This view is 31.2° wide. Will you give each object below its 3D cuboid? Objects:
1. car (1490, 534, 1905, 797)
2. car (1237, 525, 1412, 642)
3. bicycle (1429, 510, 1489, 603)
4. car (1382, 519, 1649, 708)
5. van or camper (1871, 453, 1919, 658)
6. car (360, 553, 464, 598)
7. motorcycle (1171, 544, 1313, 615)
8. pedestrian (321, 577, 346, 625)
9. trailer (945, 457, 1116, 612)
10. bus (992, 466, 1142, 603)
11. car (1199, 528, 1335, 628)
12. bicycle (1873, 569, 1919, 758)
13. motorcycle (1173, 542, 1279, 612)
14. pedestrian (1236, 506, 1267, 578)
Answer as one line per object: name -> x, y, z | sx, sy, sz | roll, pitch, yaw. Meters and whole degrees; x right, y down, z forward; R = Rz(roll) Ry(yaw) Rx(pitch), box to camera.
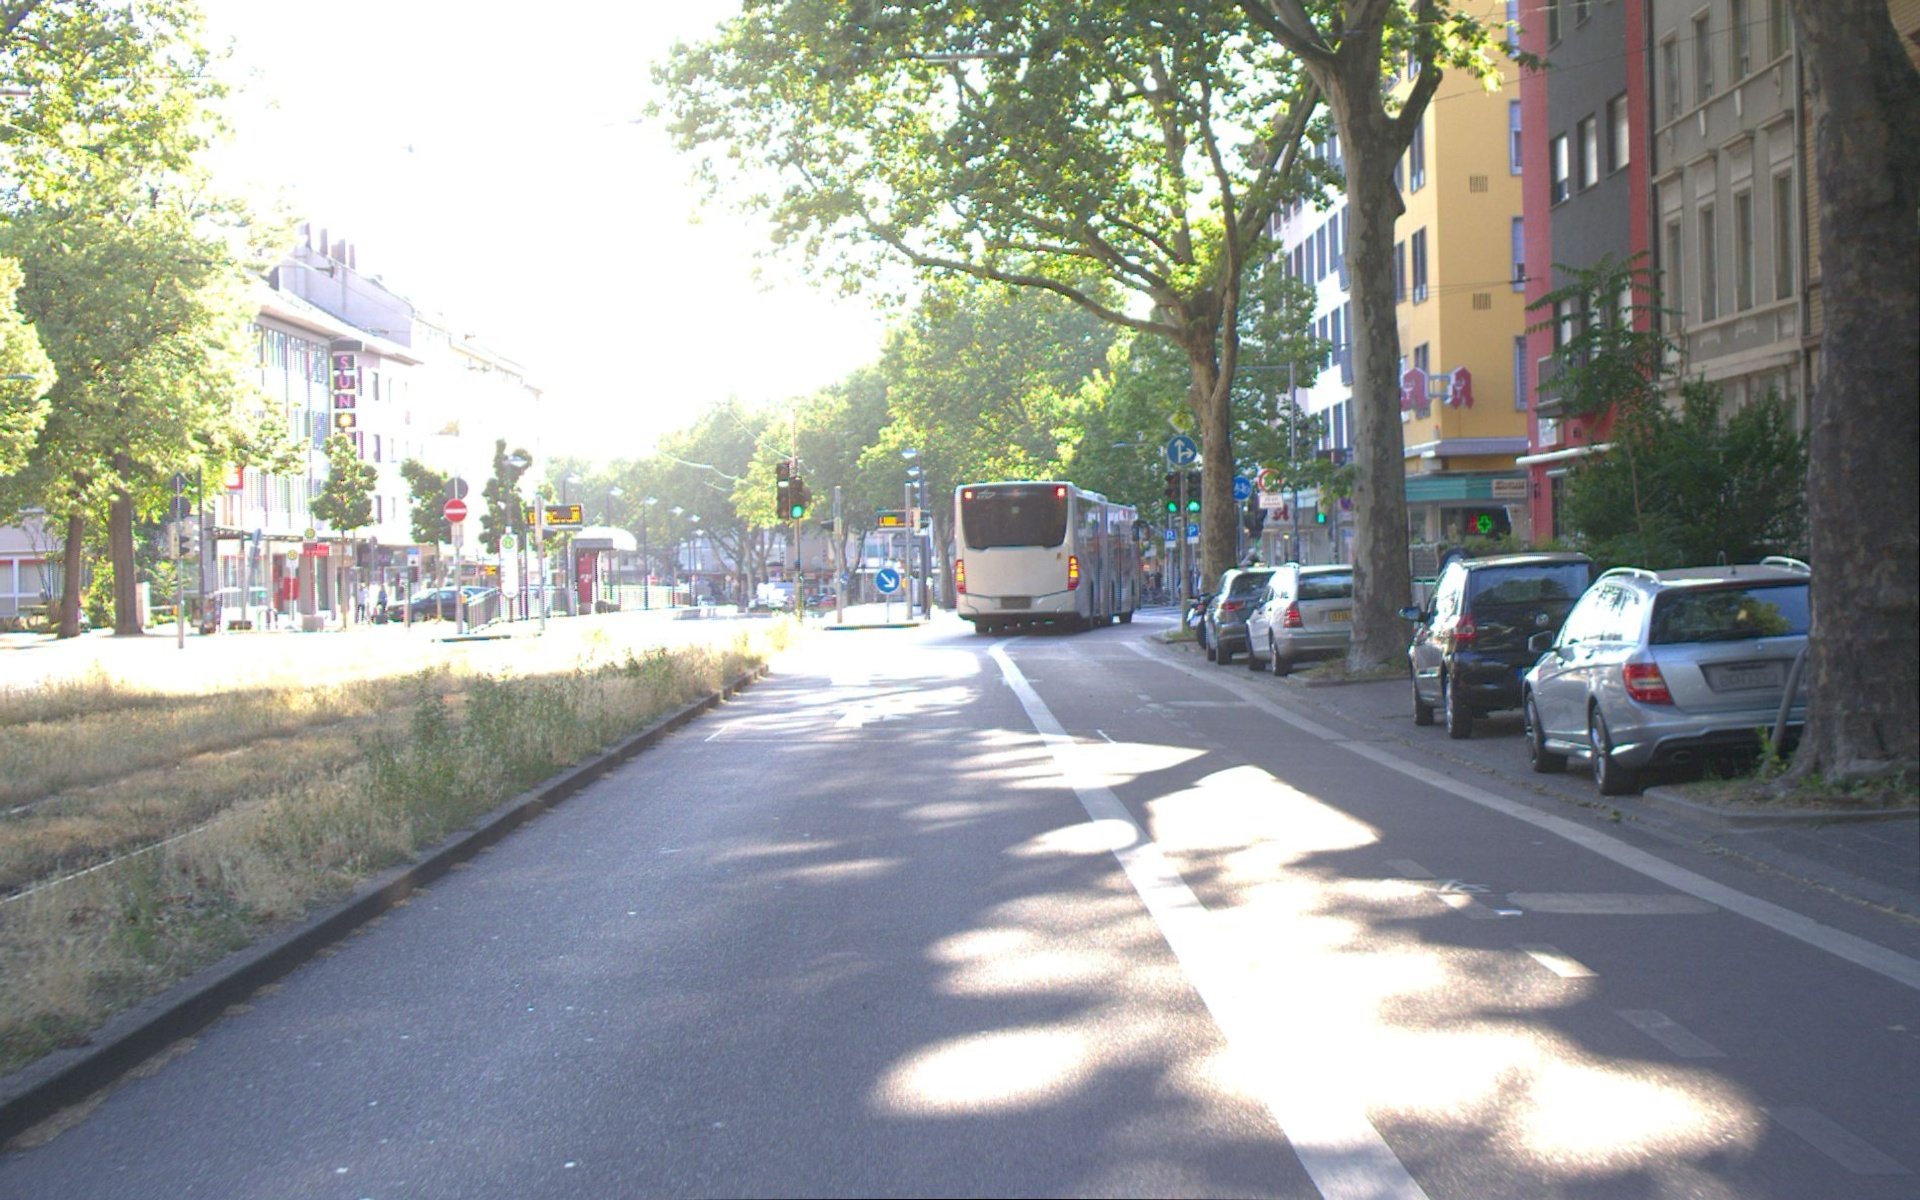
car -> 4.880, 0.357, 23.413 | 1.694, 1.537, 4.777 | -2, 1, -1
car -> 4.810, -0.256, 45.957 | 1.674, 1.446, 4.571 | -2, 1, -2
bicycle -> 7.835, -0.685, 54.041 | 0.607, 1.422, 2.396 | 1, 1, 1
car -> 4.959, 0.068, 31.164 | 1.653, 1.540, 4.000 | -2, 1, -1
van or camper -> 9.943, -0.415, 30.902 | 1.942, 1.916, 5.392 | -2, 1, -1
car -> -23.609, -1.051, 148.176 | 3.986, 1.809, 2.000 | -2, 1, -26
motorcycle -> 4.724, -0.349, 57.572 | 2.205, 1.059, 0.767 | -4, 2, -22
pedestrian -> -26.657, 0.027, 146.212 | 0.709, 2.007, 0.948 | -2, 1, 8
trailer -> 1.624, -1.404, 73.964 | 2.813, 3.099, 8.792 | 1, 1, 7
bus -> 2.679, -1.568, 82.846 | 2.813, 3.091, 9.092 | 1, 1, 7
car -> 4.623, -0.369, 52.225 | 1.710, 1.392, 4.321 | -2, 1, 1
bicycle -> 6.333, 0.396, 20.234 | 0.769, 1.127, 2.082 | 0, 1, -21
motorcycle -> 4.633, -0.411, 59.748 | 1.993, 1.148, 0.601 | -3, 2, -42
pedestrian -> 7.256, -1.457, 85.646 | 0.680, 1.764, 0.687 | -2, 1, 1
